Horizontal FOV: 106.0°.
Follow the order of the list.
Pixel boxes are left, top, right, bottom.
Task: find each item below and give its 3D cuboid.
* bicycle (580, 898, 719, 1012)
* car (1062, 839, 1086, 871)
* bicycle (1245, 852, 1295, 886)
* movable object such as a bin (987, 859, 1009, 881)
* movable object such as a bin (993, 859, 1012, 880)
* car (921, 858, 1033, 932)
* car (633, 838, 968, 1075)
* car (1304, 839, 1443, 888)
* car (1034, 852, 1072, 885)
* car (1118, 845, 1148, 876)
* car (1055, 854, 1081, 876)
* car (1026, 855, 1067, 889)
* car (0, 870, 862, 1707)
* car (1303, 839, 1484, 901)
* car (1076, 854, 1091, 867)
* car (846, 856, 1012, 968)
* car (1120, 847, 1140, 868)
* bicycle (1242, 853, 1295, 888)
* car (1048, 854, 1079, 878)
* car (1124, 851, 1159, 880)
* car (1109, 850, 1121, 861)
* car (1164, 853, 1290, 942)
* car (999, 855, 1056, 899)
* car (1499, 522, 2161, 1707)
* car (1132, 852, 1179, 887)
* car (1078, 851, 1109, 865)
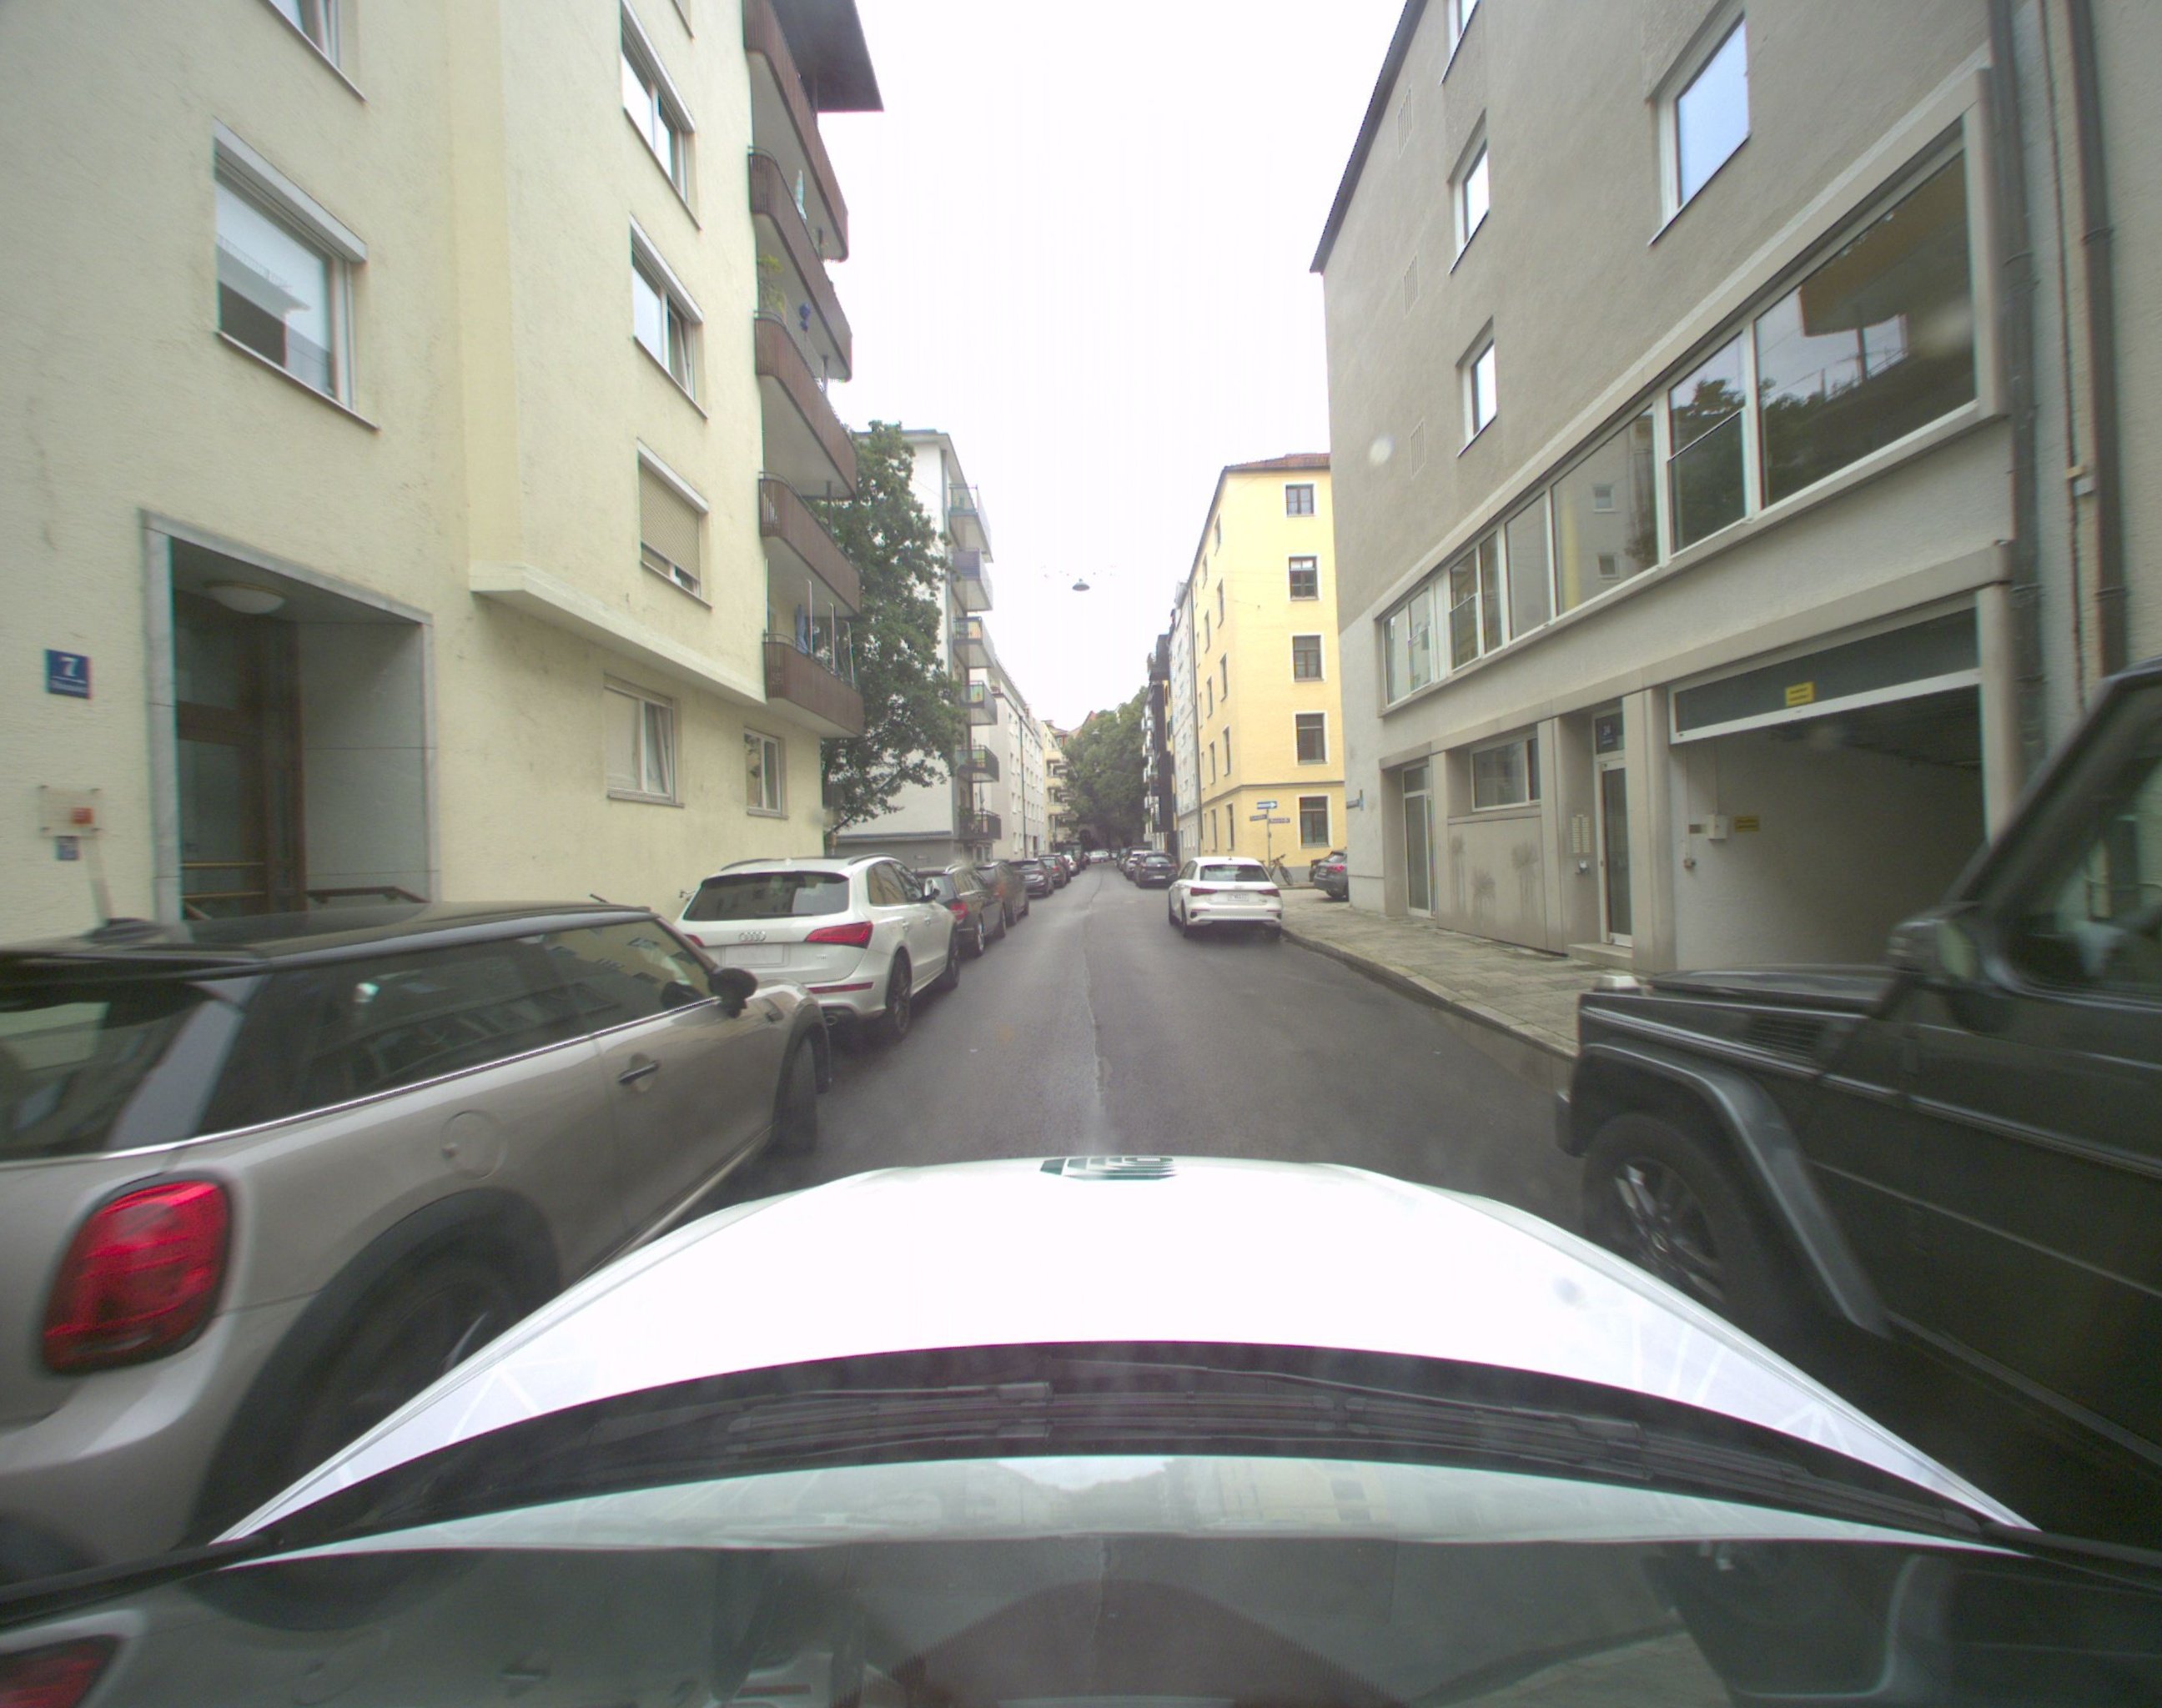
[{"bbox_3d":[-5.249,1.183,10.037,0.643,1.161,1.790,-4,-1,2],"label":"bicycle"},{"bbox_3d":[-0.596,0.123,77.494,1.930,2.801,4.533,-5,0,1],"label":"car"},{"bbox_3d":[6.968,0.557,30.027,1.707,1.139,0.374,-3,1,0],"label":"bicycle"},{"bbox_3d":[-5.495,1.038,53.895,1.161,1.336,1.026,-4,0,4],"label":"movable object such as a bin"},{"bbox_3d":[-5.315,1.018,54.970,1.043,1.337,0.994,-4,0,4],"label":"movable object such as a bin"},{"bbox_3d":[-2.309,0.873,19.238,1.849,1.408,4.385,-3,0,2],"label":"car"},{"bbox_3d":[-2.399,0.779,8.264,1.760,1.675,4.367,-3,-1,0],"label":"car"},{"bbox_3d":[10.153,0.342,28.480,4.199,1.494,1.711,-2,-1,-1],"label":"car"},{"bbox_3d":[-1.464,0.751,44.540,1.770,1.629,4.415,-3,0,1],"label":"car"},{"bbox_3d":[3.355,0.393,53.469,1.822,1.910,4.417,0,0,1],"label":"car"},{"bbox_3d":[-0.975,0.815,62.680,1.771,1.452,4.047,-5,0,1],"label":"car"},{"bbox_3d":[-1.593,0.830,38.713,1.687,1.442,3.977,-3,0,0],"label":"car"},{"bbox_3d":[-2.250,0.846,3.085,1.646,1.435,3.804,-3,-1,1],"label":"car"},{"bbox_3d":[8.455,0.396,22.302,4.193,1.399,1.999,-2,2,-2],"label":"car"},{"bbox_3d":[0.273,0.704,96.087,1.637,1.383,3.483,-5,0,1],"label":"car"},{"bbox_3d":[-2.391,0.842,13.988,1.759,1.483,4.427,-3,0,2],"label":"car"},{"bbox_3d":[4.782,0.338,80.150,1.823,1.999,4.416,1,0,1],"label":"car"},{"bbox_3d":[7.014,0.599,30.525,1.803,1.174,0.505,-4,1,-1],"label":"bicycle"},{"bbox_3d":[-1.202,0.795,57.410,1.770,1.487,4.521,-5,0,2],"label":"car"},{"bbox_3d":[3.350,0.609,45.952,1.676,1.567,4.416,0,0,1],"label":"car"},{"bbox_3d":[5.179,0.210,122.977,1.637,1.383,3.746,-5,0,1],"label":"car"},{"bbox_3d":[2.687,0.746,15.845,1.812,1.408,3.953,-1,1,1],"label":"car"},{"bbox_3d":[-1.973,0.812,30.924,1.686,1.442,3.944,-3,0,2],"label":"car"},{"bbox_3d":[2.530,0.483,1.028,1.746,1.975,4.341,0,0,-1],"label":"car"},{"bbox_3d":[3.234,0.643,36.081,1.744,1.469,4.344,0,0,1],"label":"car"},{"bbox_3d":[1.644,0.529,105.950,3.873,1.584,1.647,-5,0,0],"label":"car"}]
